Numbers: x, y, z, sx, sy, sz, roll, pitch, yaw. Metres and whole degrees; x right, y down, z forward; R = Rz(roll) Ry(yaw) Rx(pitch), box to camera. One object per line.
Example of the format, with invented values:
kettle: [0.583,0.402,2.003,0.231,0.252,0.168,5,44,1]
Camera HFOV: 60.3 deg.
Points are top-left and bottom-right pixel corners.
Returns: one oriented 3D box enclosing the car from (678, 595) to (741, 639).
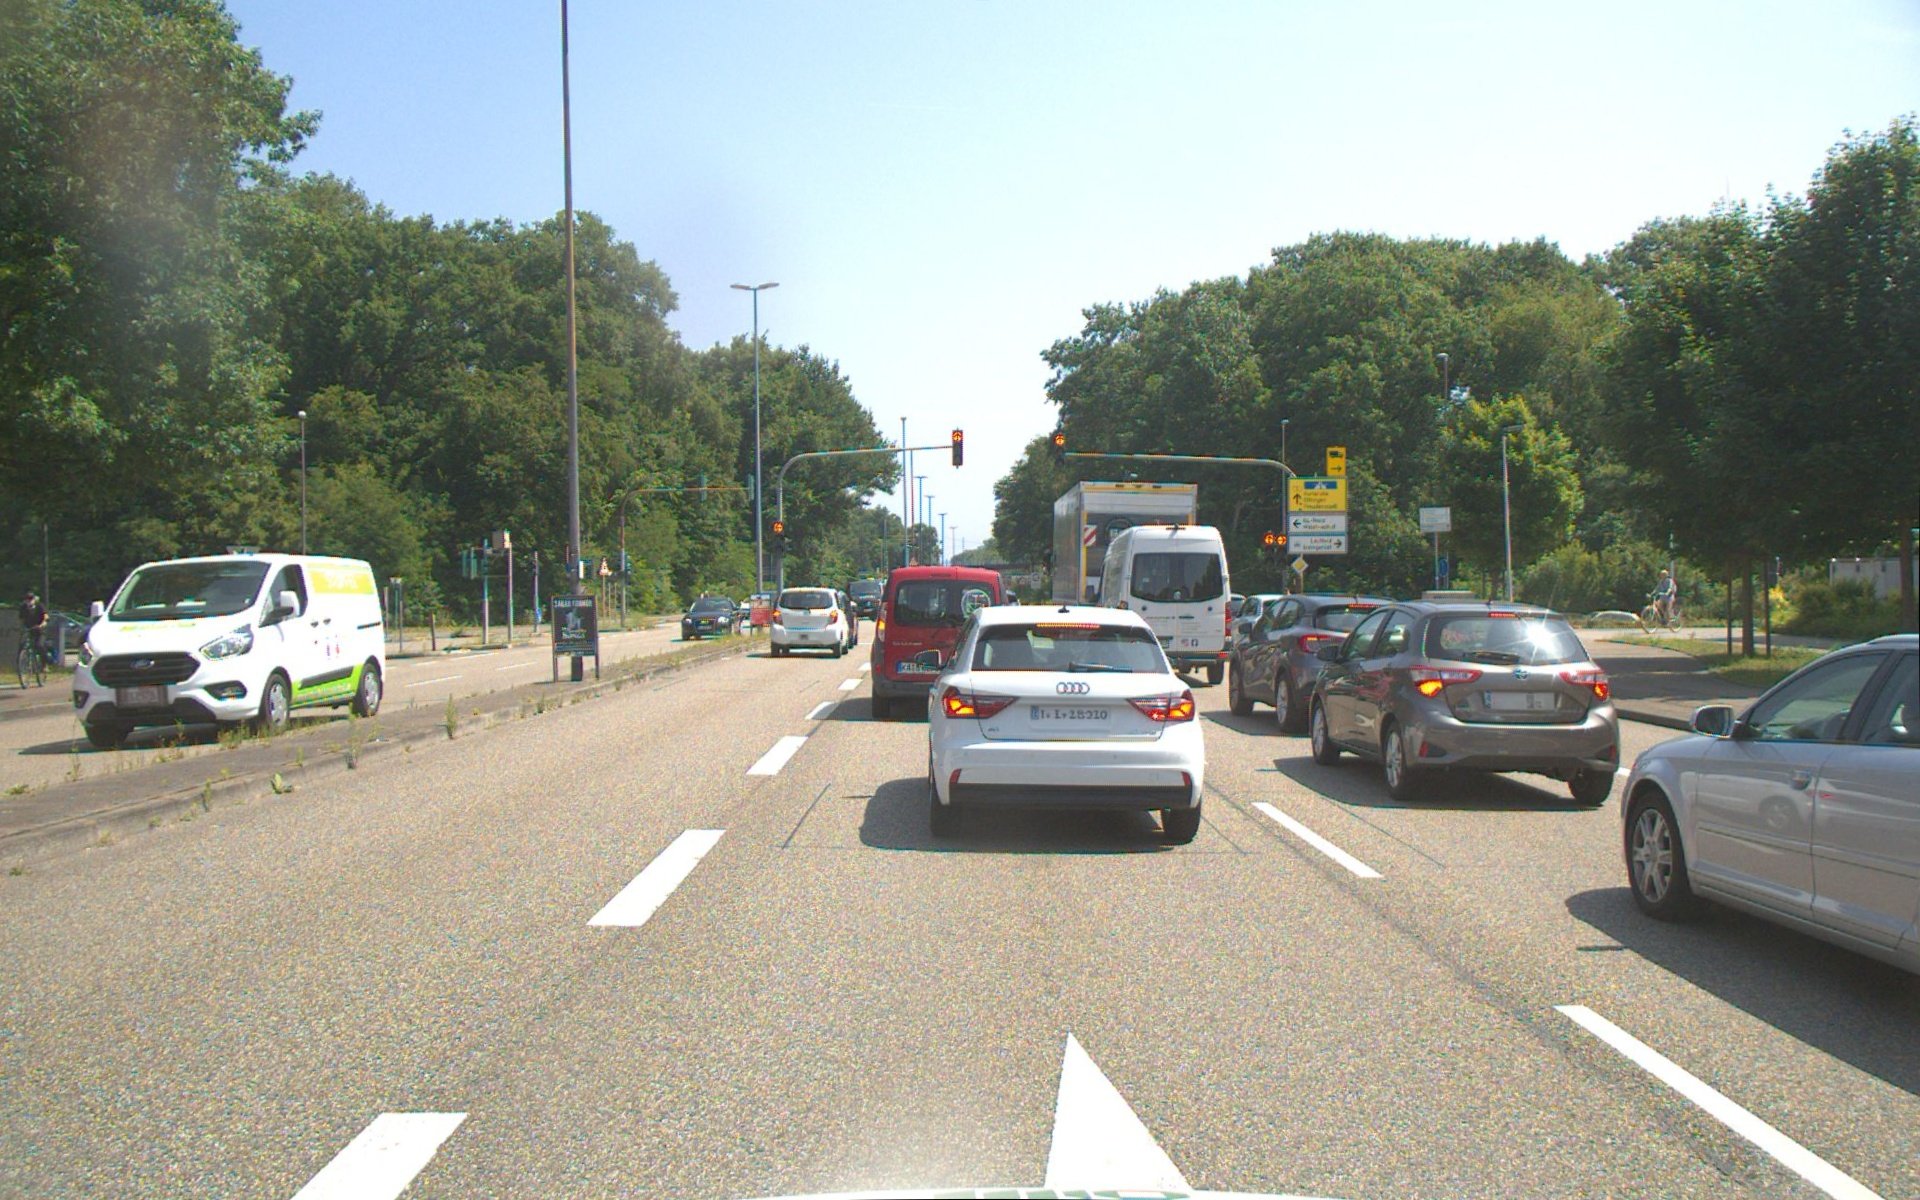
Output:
car: [-8.641,0.567,57.337,1.645,1.362,3.999,-3,0,-2]

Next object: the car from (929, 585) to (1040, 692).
car: [0.345,0.588,27.849,1.677,1.660,4.090,0,0,-2]

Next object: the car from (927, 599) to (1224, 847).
car: [0.633,0.713,11.630,1.677,1.410,4.090,0,0,-2]

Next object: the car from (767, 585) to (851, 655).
car: [-3.435,0.431,38.269,1.677,1.519,4.090,0,0,-2]

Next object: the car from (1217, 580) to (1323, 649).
car: [7.432,0.312,39.957,1.677,1.573,4.090,0,0,-2]

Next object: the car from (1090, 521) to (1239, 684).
car: [3.585,0.036,29.844,1.990,2.690,4.844,0,0,-1]

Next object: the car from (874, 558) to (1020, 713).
car: [-0.210,0.395,21.125,1.677,1.779,4.090,0,0,-2]

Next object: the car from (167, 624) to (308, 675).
car: [-26.019,1.788,59.666,4.289,1.711,1.807,1,0,-8]

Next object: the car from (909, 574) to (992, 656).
car: [-0.243,0.296,35.621,1.677,1.660,4.090,0,0,-2]

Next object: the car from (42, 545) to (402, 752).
car: [-8.211,0.466,19.014,1.953,1.979,4.907,-3,0,-1]

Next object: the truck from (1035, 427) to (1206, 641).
truck: [3.690,-1.445,41.121,3.025,4.511,11.579,1,0,0]

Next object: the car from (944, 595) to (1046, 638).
car: [1.434,0.688,68.867,3.925,1.719,1.869,-1,0,40]

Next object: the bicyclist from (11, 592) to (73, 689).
bicyclist: [-17.342,0.757,31.257,0.636,1.801,0.927,0,0,0]

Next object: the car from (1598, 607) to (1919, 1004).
car: [4.249,0.762,6.629,1.677,1.386,4.090,1,0,-2]

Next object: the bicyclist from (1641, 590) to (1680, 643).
bicyclist: [19.703,0.460,46.531,0.813,1.464,0.596,-1,0,-18]

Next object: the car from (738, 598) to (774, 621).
car: [-12.569,0.544,102.104,1.683,1.284,4.300,-3,0,-1]

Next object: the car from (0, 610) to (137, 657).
car: [-33.766,1.260,62.587,4.293,1.711,1.805,1,-1,-12]

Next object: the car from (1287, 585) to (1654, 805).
car: [4.103,0.675,14.006,1.677,1.504,4.090,3,0,-2]

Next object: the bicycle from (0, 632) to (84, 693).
bicycle: [-17.353,1.168,31.207,0.641,1.069,1.884,0,0,0]

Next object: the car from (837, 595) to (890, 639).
car: [-4.774,0.798,81.330,1.960,2.049,3.986,-1,0,-14]

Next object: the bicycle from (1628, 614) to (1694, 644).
bicycle: [19.722,0.811,46.547,1.794,0.779,0.597,-1,0,-20]

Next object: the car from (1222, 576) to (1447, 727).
car: [4.376,0.546,19.935,1.677,1.621,4.090,0,0,-2]

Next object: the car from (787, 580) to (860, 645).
car: [-3.614,0.307,44.345,1.738,1.670,4.035,0,0,-2]
